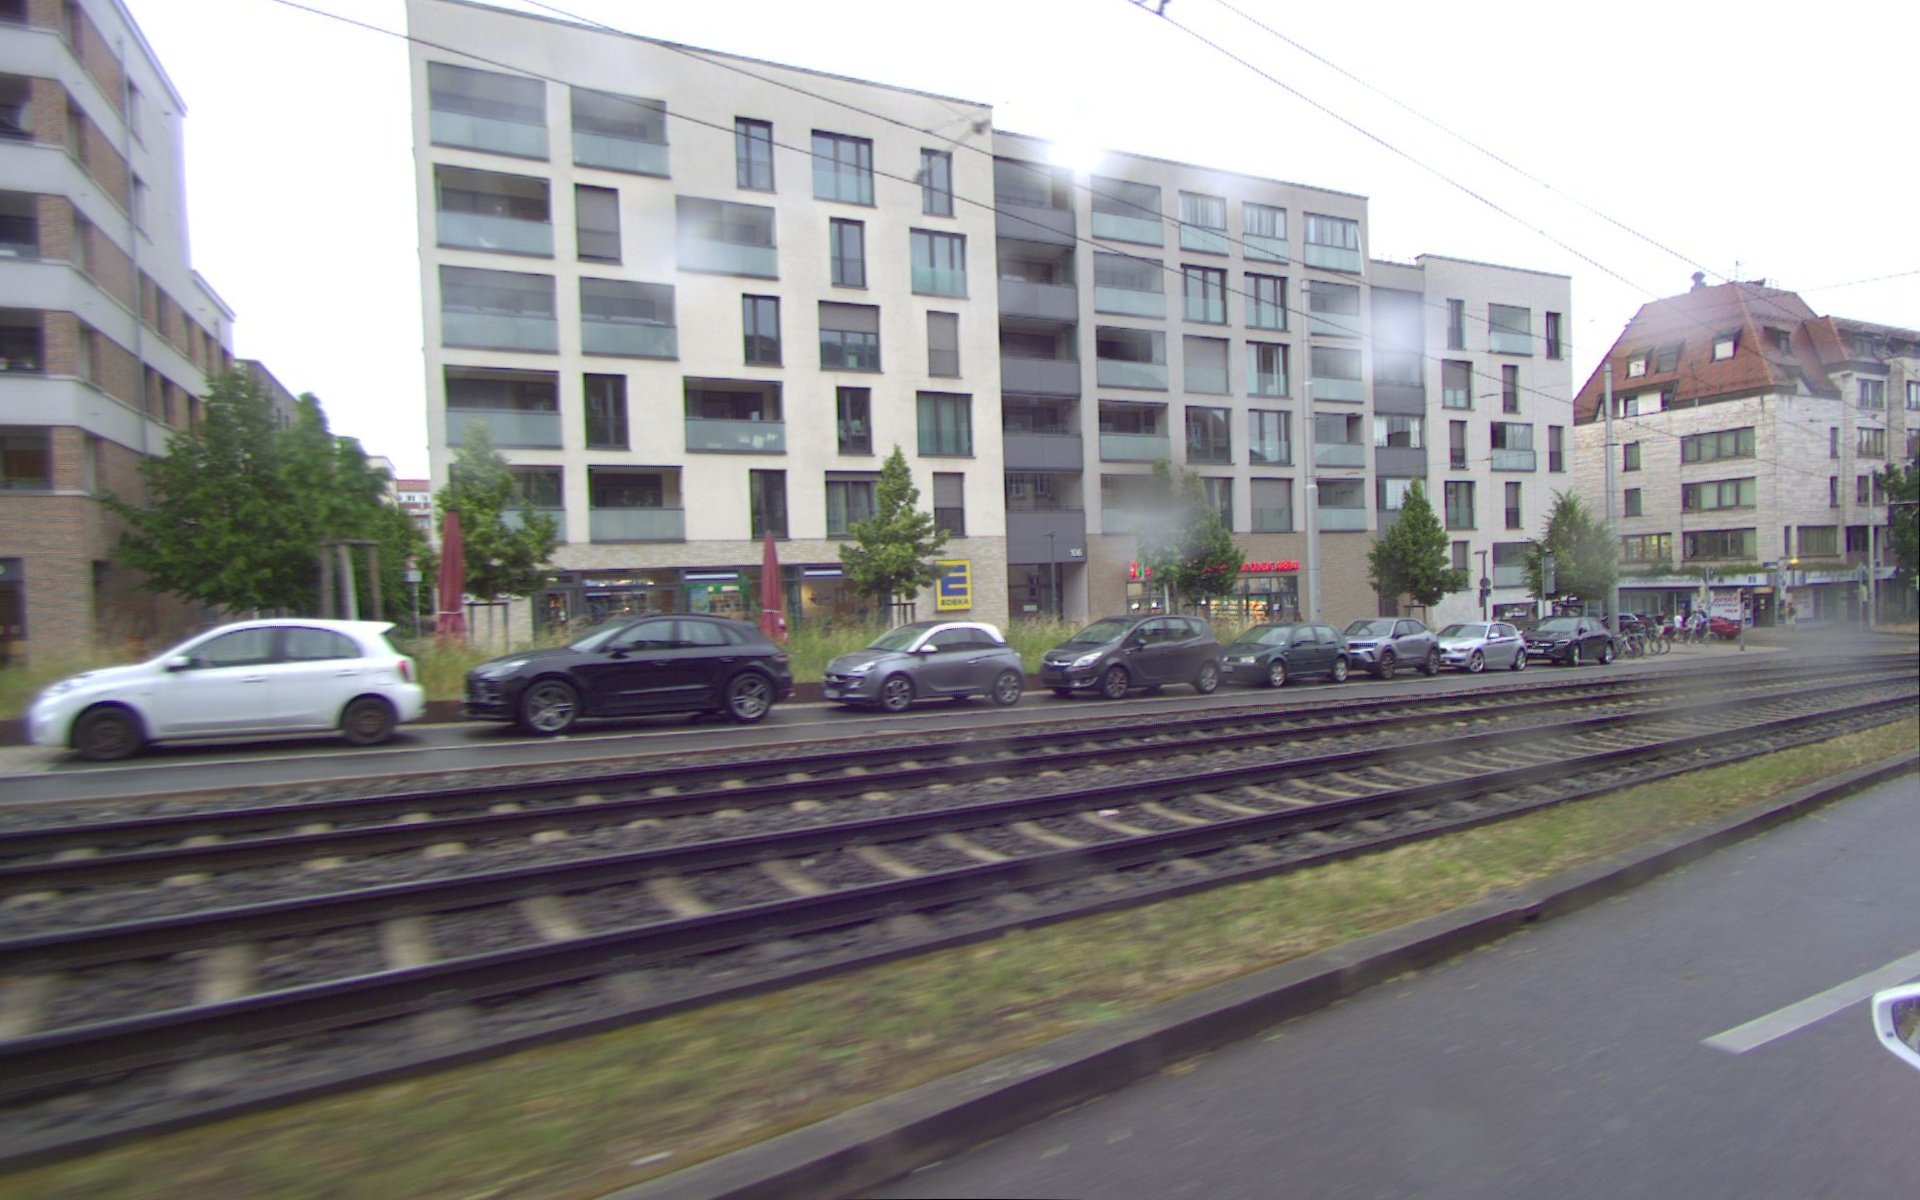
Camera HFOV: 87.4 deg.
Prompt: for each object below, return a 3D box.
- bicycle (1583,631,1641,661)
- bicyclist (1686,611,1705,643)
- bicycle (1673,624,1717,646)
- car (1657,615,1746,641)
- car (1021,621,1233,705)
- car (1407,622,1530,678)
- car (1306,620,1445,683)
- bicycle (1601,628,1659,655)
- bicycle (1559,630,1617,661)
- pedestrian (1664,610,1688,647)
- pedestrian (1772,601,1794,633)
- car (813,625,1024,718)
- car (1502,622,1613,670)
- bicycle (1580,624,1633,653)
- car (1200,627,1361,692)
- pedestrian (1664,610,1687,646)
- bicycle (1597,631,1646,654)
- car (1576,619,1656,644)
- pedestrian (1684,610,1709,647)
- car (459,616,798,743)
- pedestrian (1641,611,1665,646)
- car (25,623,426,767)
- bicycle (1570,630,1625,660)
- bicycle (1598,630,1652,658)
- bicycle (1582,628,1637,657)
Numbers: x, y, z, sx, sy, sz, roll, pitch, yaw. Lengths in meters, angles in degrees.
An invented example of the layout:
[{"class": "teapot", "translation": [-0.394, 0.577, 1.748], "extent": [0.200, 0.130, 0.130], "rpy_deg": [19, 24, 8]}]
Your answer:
[{"class": "bicycle", "translation": [24.610, 1.728, 37.917], "extent": [1.775, 1.078, 0.455], "rpy_deg": [1, 0, 40]}, {"class": "bicyclist", "translation": [37.460, 1.363, 51.163], "extent": [0.688, 1.595, 0.462], "rpy_deg": [0, 0, 20]}, {"class": "bicycle", "translation": [37.434, 1.768, 51.174], "extent": [1.767, 1.078, 0.457], "rpy_deg": [0, 0, 20]}, {"class": "car", "translation": [46.096, 1.702, 62.511], "extent": [1.800, 1.589, 4.119], "rpy_deg": [0, -1, -27]}, {"class": "car", "translation": [3.425, 1.201, 20.255], "extent": [4.276, 1.533, 1.708], "rpy_deg": [1, -2, -36]}, {"class": "car", "translation": [14.887, 1.420, 29.314], "extent": [4.050, 1.524, 1.758], "rpy_deg": [1, -2, -40]}, {"class": "car", "translation": [10.946, 1.308, 26.373], "extent": [3.889, 1.524, 1.758], "rpy_deg": [1, -2, -40]}, {"class": "bicycle", "translation": [28.399, 1.754, 42.612], "extent": [0.716, 1.041, 1.930], "rpy_deg": [0, 0, -44]}, {"class": "bicycle", "translation": [23.499, 1.693, 37.609], "extent": [1.777, 1.078, 0.455], "rpy_deg": [1, 0, 44]}, {"class": "pedestrian", "translation": [40.034, 1.590, 56.141], "extent": [0.758, 2.040, 0.934], "rpy_deg": [0, -1, -40]}, {"class": "pedestrian", "translation": [50.887, 1.068, 62.102], "extent": [0.818, 1.957, 0.897], "rpy_deg": [0, -1, -40]}, {"class": "car", "translation": [-0.683, 1.170, 17.500], "extent": [3.417, 1.454, 1.539], "rpy_deg": [1, -2, -36]}, {"class": "car", "translation": [19.953, 1.492, 33.504], "extent": [4.202, 1.524, 1.896], "rpy_deg": [1, -2, -40]}, {"class": "bicycle", "translation": [26.051, 1.535, 40.480], "extent": [1.772, 1.123, 0.454], "rpy_deg": [1, 0, 35]}, {"class": "car", "translation": [7.507, 1.326, 23.390], "extent": [3.971, 1.380, 1.538], "rpy_deg": [1, -1, -36]}, {"class": "pedestrian", "translation": [41.203, 1.624, 57.840], "extent": [0.758, 2.040, 0.934], "rpy_deg": [0, -1, -40]}, {"class": "bicycle", "translation": [27.537, 1.769, 41.837], "extent": [1.632, 0.877, 0.565], "rpy_deg": [1, 0, 45]}, {"class": "car", "translation": [43.840, 2.057, 67.207], "extent": [1.800, 1.589, 4.119], "rpy_deg": [0, -1, -27]}, {"class": "pedestrian", "translation": [40.515, 1.568, 55.266], "extent": [0.757, 2.040, 0.935], "rpy_deg": [0, -1, -36]}, {"class": "car", "translation": [-4.706, 1.041, 14.548], "extent": [4.362, 1.582, 1.754], "rpy_deg": [1, -2, -36]}, {"class": "pedestrian", "translation": [39.751, 1.627, 57.630], "extent": [0.758, 2.040, 0.934], "rpy_deg": [0, -1, -40]}, {"class": "car", "translation": [-8.578, 1.037, 12.189], "extent": [3.689, 1.498, 1.758], "rpy_deg": [1, -2, -29]}, {"class": "bicycle", "translation": [24.855, 1.734, 39.196], "extent": [0.480, 1.086, 1.758], "rpy_deg": [0, 0, -33]}, {"class": "bicycle", "translation": [27.268, 1.784, 41.185], "extent": [1.777, 1.078, 0.566], "rpy_deg": [1, -1, 43]}, {"class": "bicycle", "translation": [25.672, 1.665, 39.691], "extent": [1.775, 1.078, 0.455], "rpy_deg": [1, 0, 40]}]
